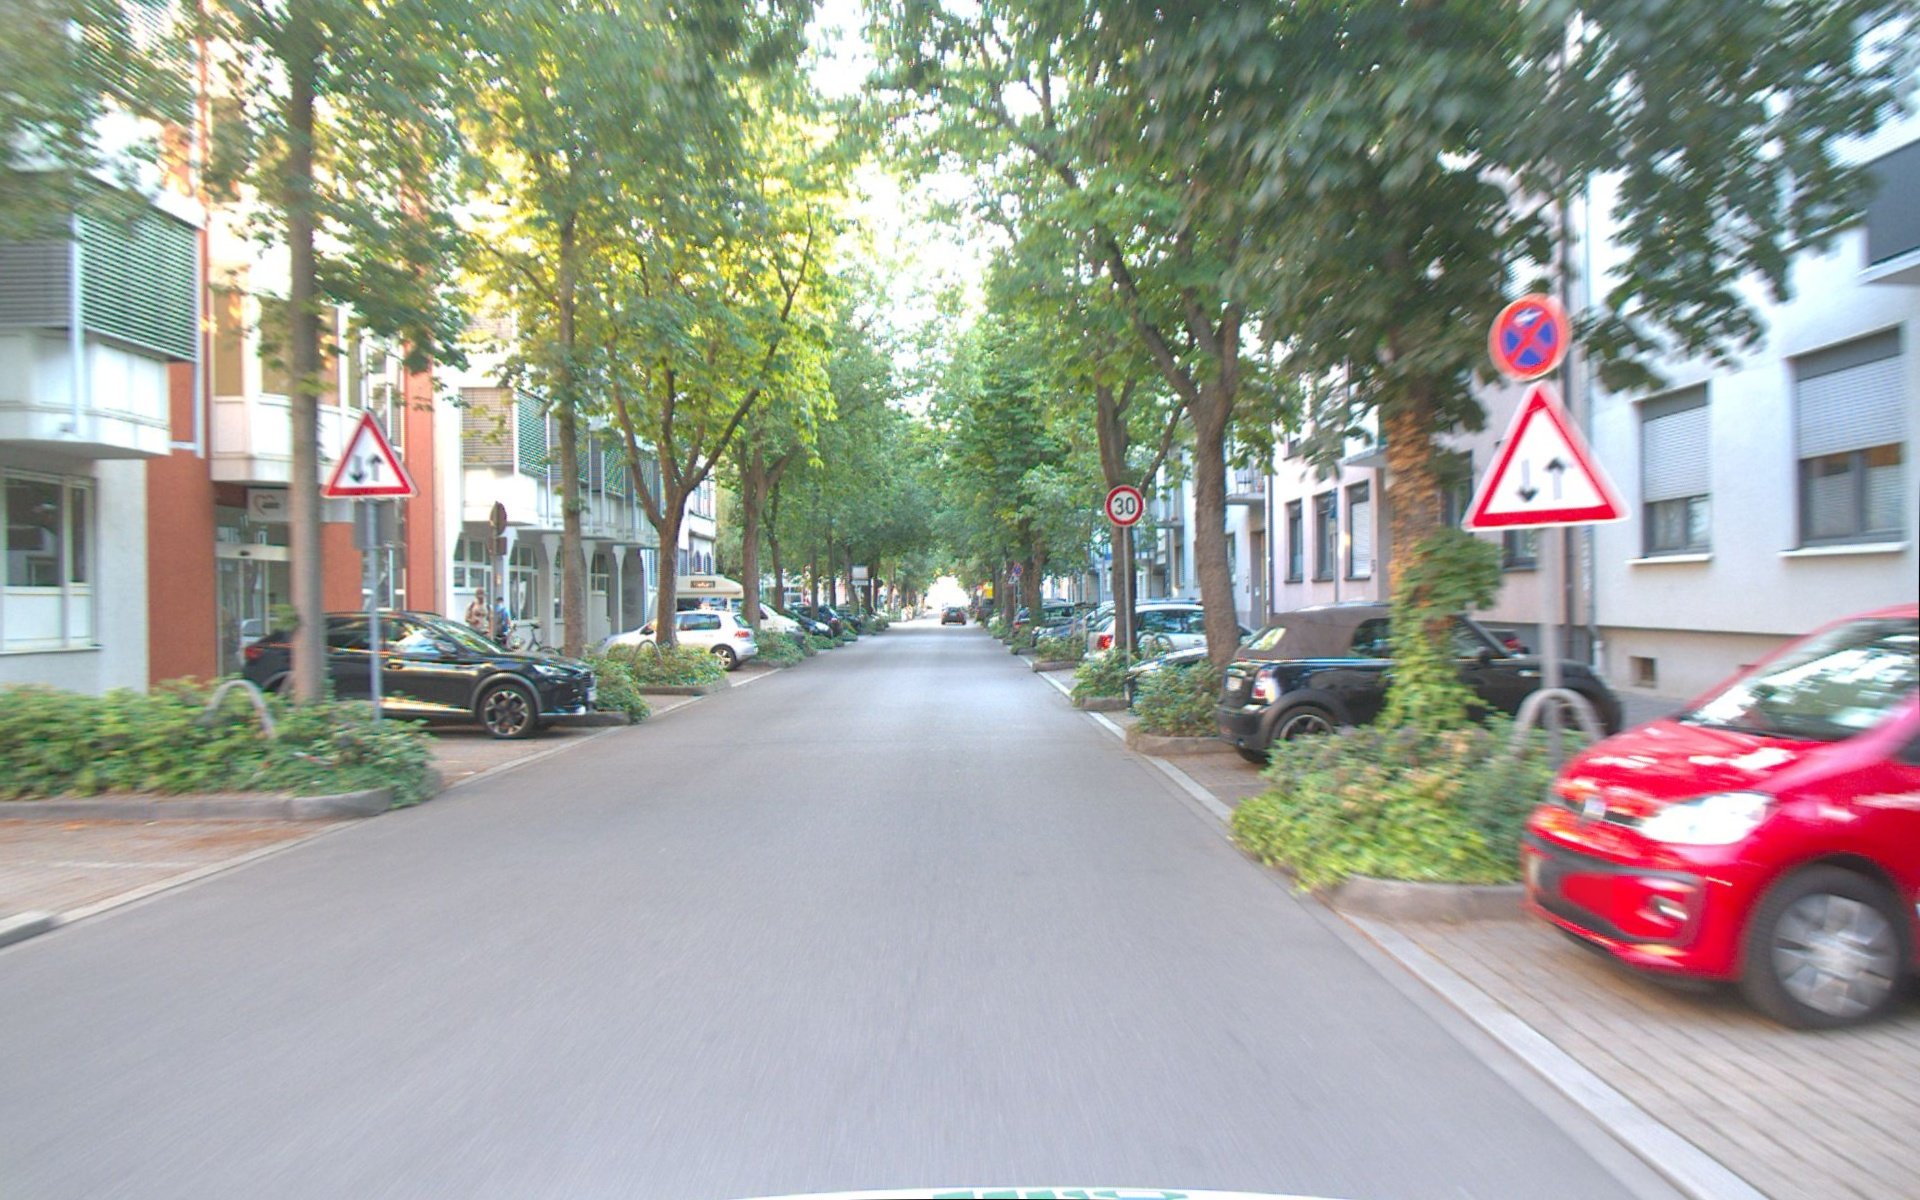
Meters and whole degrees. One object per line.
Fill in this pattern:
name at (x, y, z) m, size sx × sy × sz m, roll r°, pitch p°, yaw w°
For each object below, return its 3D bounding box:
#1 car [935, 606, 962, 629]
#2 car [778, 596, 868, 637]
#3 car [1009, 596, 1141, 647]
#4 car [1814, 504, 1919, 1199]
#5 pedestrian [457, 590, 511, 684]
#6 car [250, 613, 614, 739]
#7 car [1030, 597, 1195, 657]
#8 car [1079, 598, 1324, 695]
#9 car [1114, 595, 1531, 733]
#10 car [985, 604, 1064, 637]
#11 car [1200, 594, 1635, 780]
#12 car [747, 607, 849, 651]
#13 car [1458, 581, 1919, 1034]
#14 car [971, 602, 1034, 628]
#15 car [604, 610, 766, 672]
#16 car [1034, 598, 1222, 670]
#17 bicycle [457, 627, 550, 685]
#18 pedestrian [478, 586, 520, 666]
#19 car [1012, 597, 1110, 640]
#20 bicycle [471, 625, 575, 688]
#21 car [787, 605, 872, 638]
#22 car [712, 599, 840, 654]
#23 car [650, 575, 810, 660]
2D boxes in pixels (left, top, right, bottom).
car at (-0.859, 1.320, 123.242) m, size 1.916 × 1.593 × 4.282 m, roll -2°, pitch 0°, yaw 0°
car at (-7.411, 0.899, 89.682) m, size 4.665 × 2.019 × 1.963 m, roll -2°, pitch 0°, yaw -1°
car at (3.976, 0.736, 57.360) m, size 4.414 × 1.548 × 1.996 m, roll -2°, pitch 0°, yaw 3°
car at (4.451, 0.571, 3.451) m, size 4.334 × 1.685 × 1.900 m, roll -1°, pitch 0°, yaw 1°
pedestrian at (-9.171, 0.698, 31.885) m, size 0.689 × 1.788 × 0.739 m, roll 0°, pitch -1°, yaw 23°
car at (-6.644, 0.939, 21.168) m, size 4.043 × 1.512 × 1.929 m, roll 0°, pitch 0°, yaw -1°
car at (4.417, 0.784, 48.452) m, size 4.587 × 1.548 × 1.963 m, roll -2°, pitch 0°, yaw -1°
car at (4.048, 0.759, 28.098) m, size 3.800 × 1.465 × 1.846 m, roll -2°, pitch 0°, yaw -4°
car at (4.307, 0.738, 20.224) m, size 4.615 × 1.446 × 2.035 m, roll -2°, pitch 0°, yaw -1°
car at (3.515, 1.130, 90.482) m, size 4.181 × 1.593 × 1.963 m, roll -2°, pitch 0°, yaw -1°
car at (4.092, 0.741, 15.210) m, size 3.414 × 1.478 × 1.898 m, roll -2°, pitch 0°, yaw -3°
car at (-6.867, 1.222, 70.536) m, size 4.117 × 1.664 × 1.963 m, roll -2°, pitch 0°, yaw -1°
car at (4.021, 0.670, 6.641) m, size 3.414 × 1.478 × 1.898 m, roll -2°, pitch 0°, yaw -3°
car at (2.882, 1.056, 113.464) m, size 4.181 × 1.593 × 1.963 m, roll -2°, pitch 0°, yaw -1°
car at (-6.944, 1.022, 42.020) m, size 3.790 × 1.512 × 1.757 m, roll 0°, pitch 0°, yaw 1°
car at (4.205, 0.835, 41.970) m, size 4.620 × 1.740 × 1.950 m, roll 0°, pitch 1°, yaw 1°
bicycle at (-8.589, 1.041, 31.111) m, size 1.758 × 1.047 × 0.500 m, roll 0°, pitch 0°, yaw 22°
pedestrian at (-10.322, 0.583, 37.022) m, size 0.689 × 1.758 × 0.905 m, roll 0°, pitch -1°, yaw 0°
car at (4.276, 0.776, 70.473) m, size 3.968 × 1.625 × 1.825 m, roll -2°, pitch 0°, yaw -1°
bicycle at (-7.906, 1.012, 29.960) m, size 1.771 × 1.127 × 0.496 m, roll 0°, pitch 0°, yaw -24°
car at (-7.390, 1.239, 93.999) m, size 4.665 × 1.658 × 1.963 m, roll -2°, pitch 0°, yaw -1°
car at (-6.955, 0.992, 62.814) m, size 4.587 × 1.886 × 1.963 m, roll -2°, pitch 0°, yaw -1°
car at (-6.958, 0.521, 50.365) m, size 4.586 × 2.521 × 2.000 m, roll 0°, pitch -1°, yaw -1°
